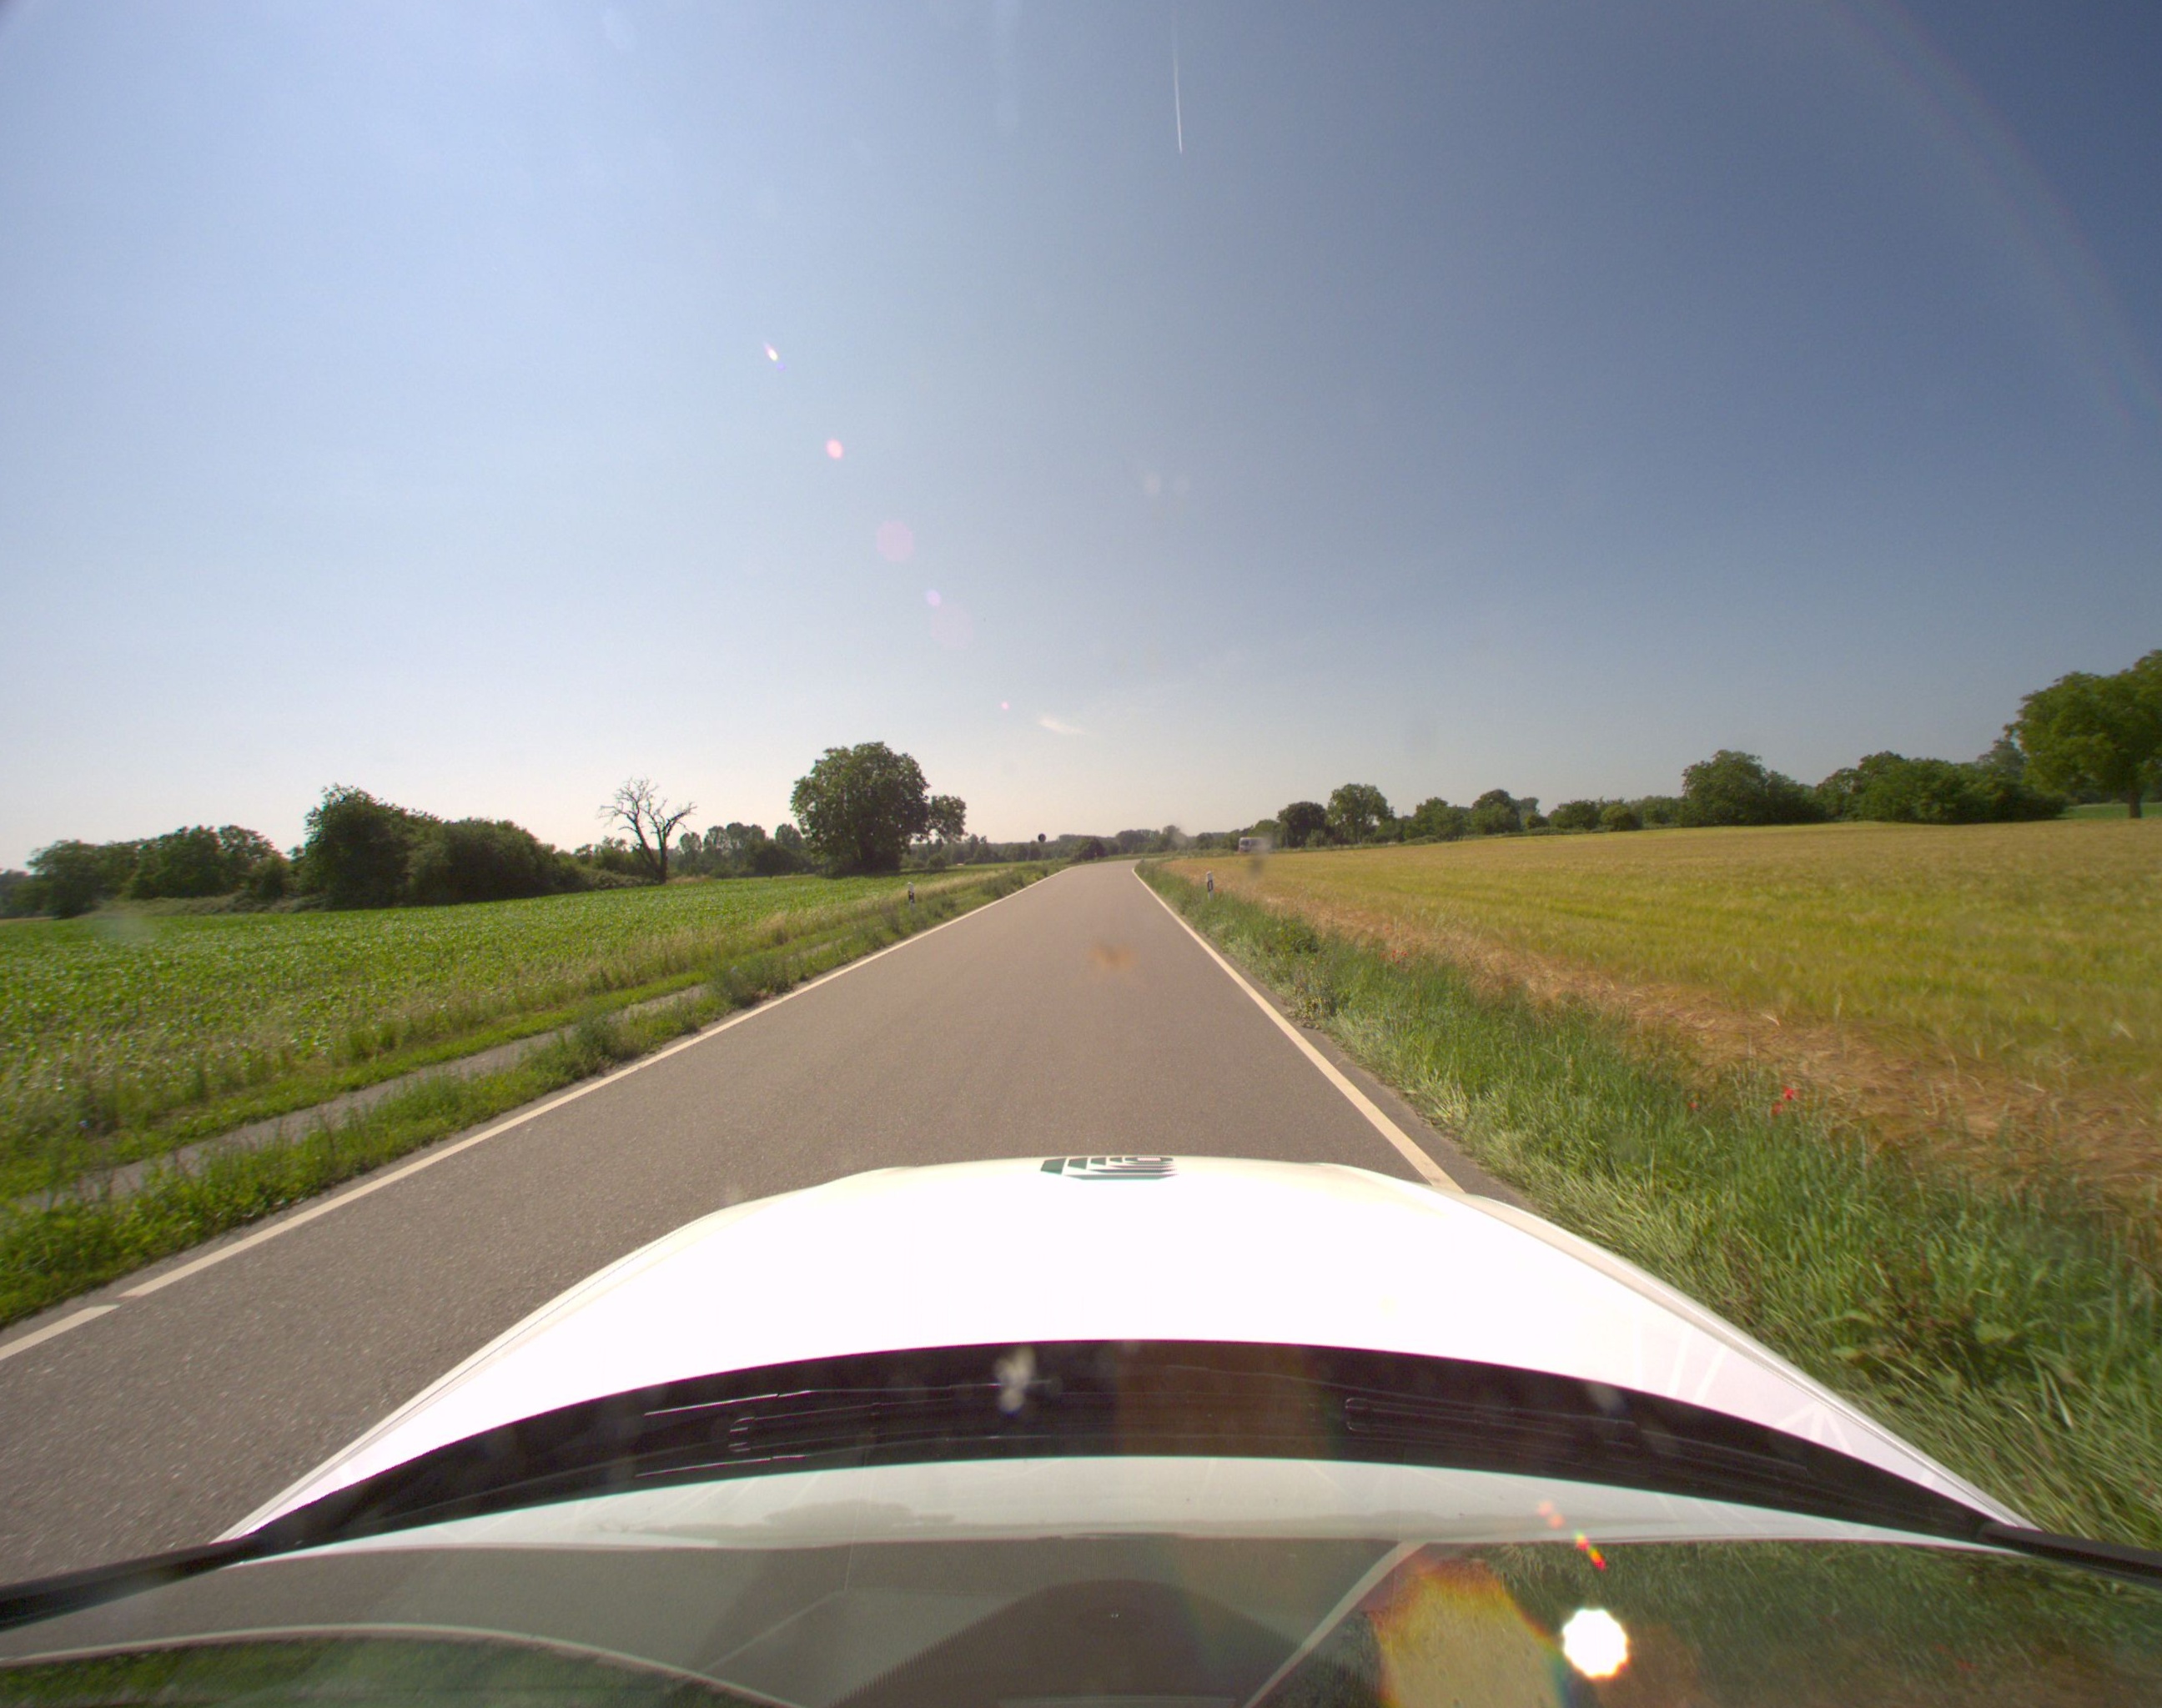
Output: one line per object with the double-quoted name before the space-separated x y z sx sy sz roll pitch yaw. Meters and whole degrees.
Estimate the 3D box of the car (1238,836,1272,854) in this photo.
"car" 26.185 -1.360 122.414 2.084 2.367 5.721 -4 0 44
